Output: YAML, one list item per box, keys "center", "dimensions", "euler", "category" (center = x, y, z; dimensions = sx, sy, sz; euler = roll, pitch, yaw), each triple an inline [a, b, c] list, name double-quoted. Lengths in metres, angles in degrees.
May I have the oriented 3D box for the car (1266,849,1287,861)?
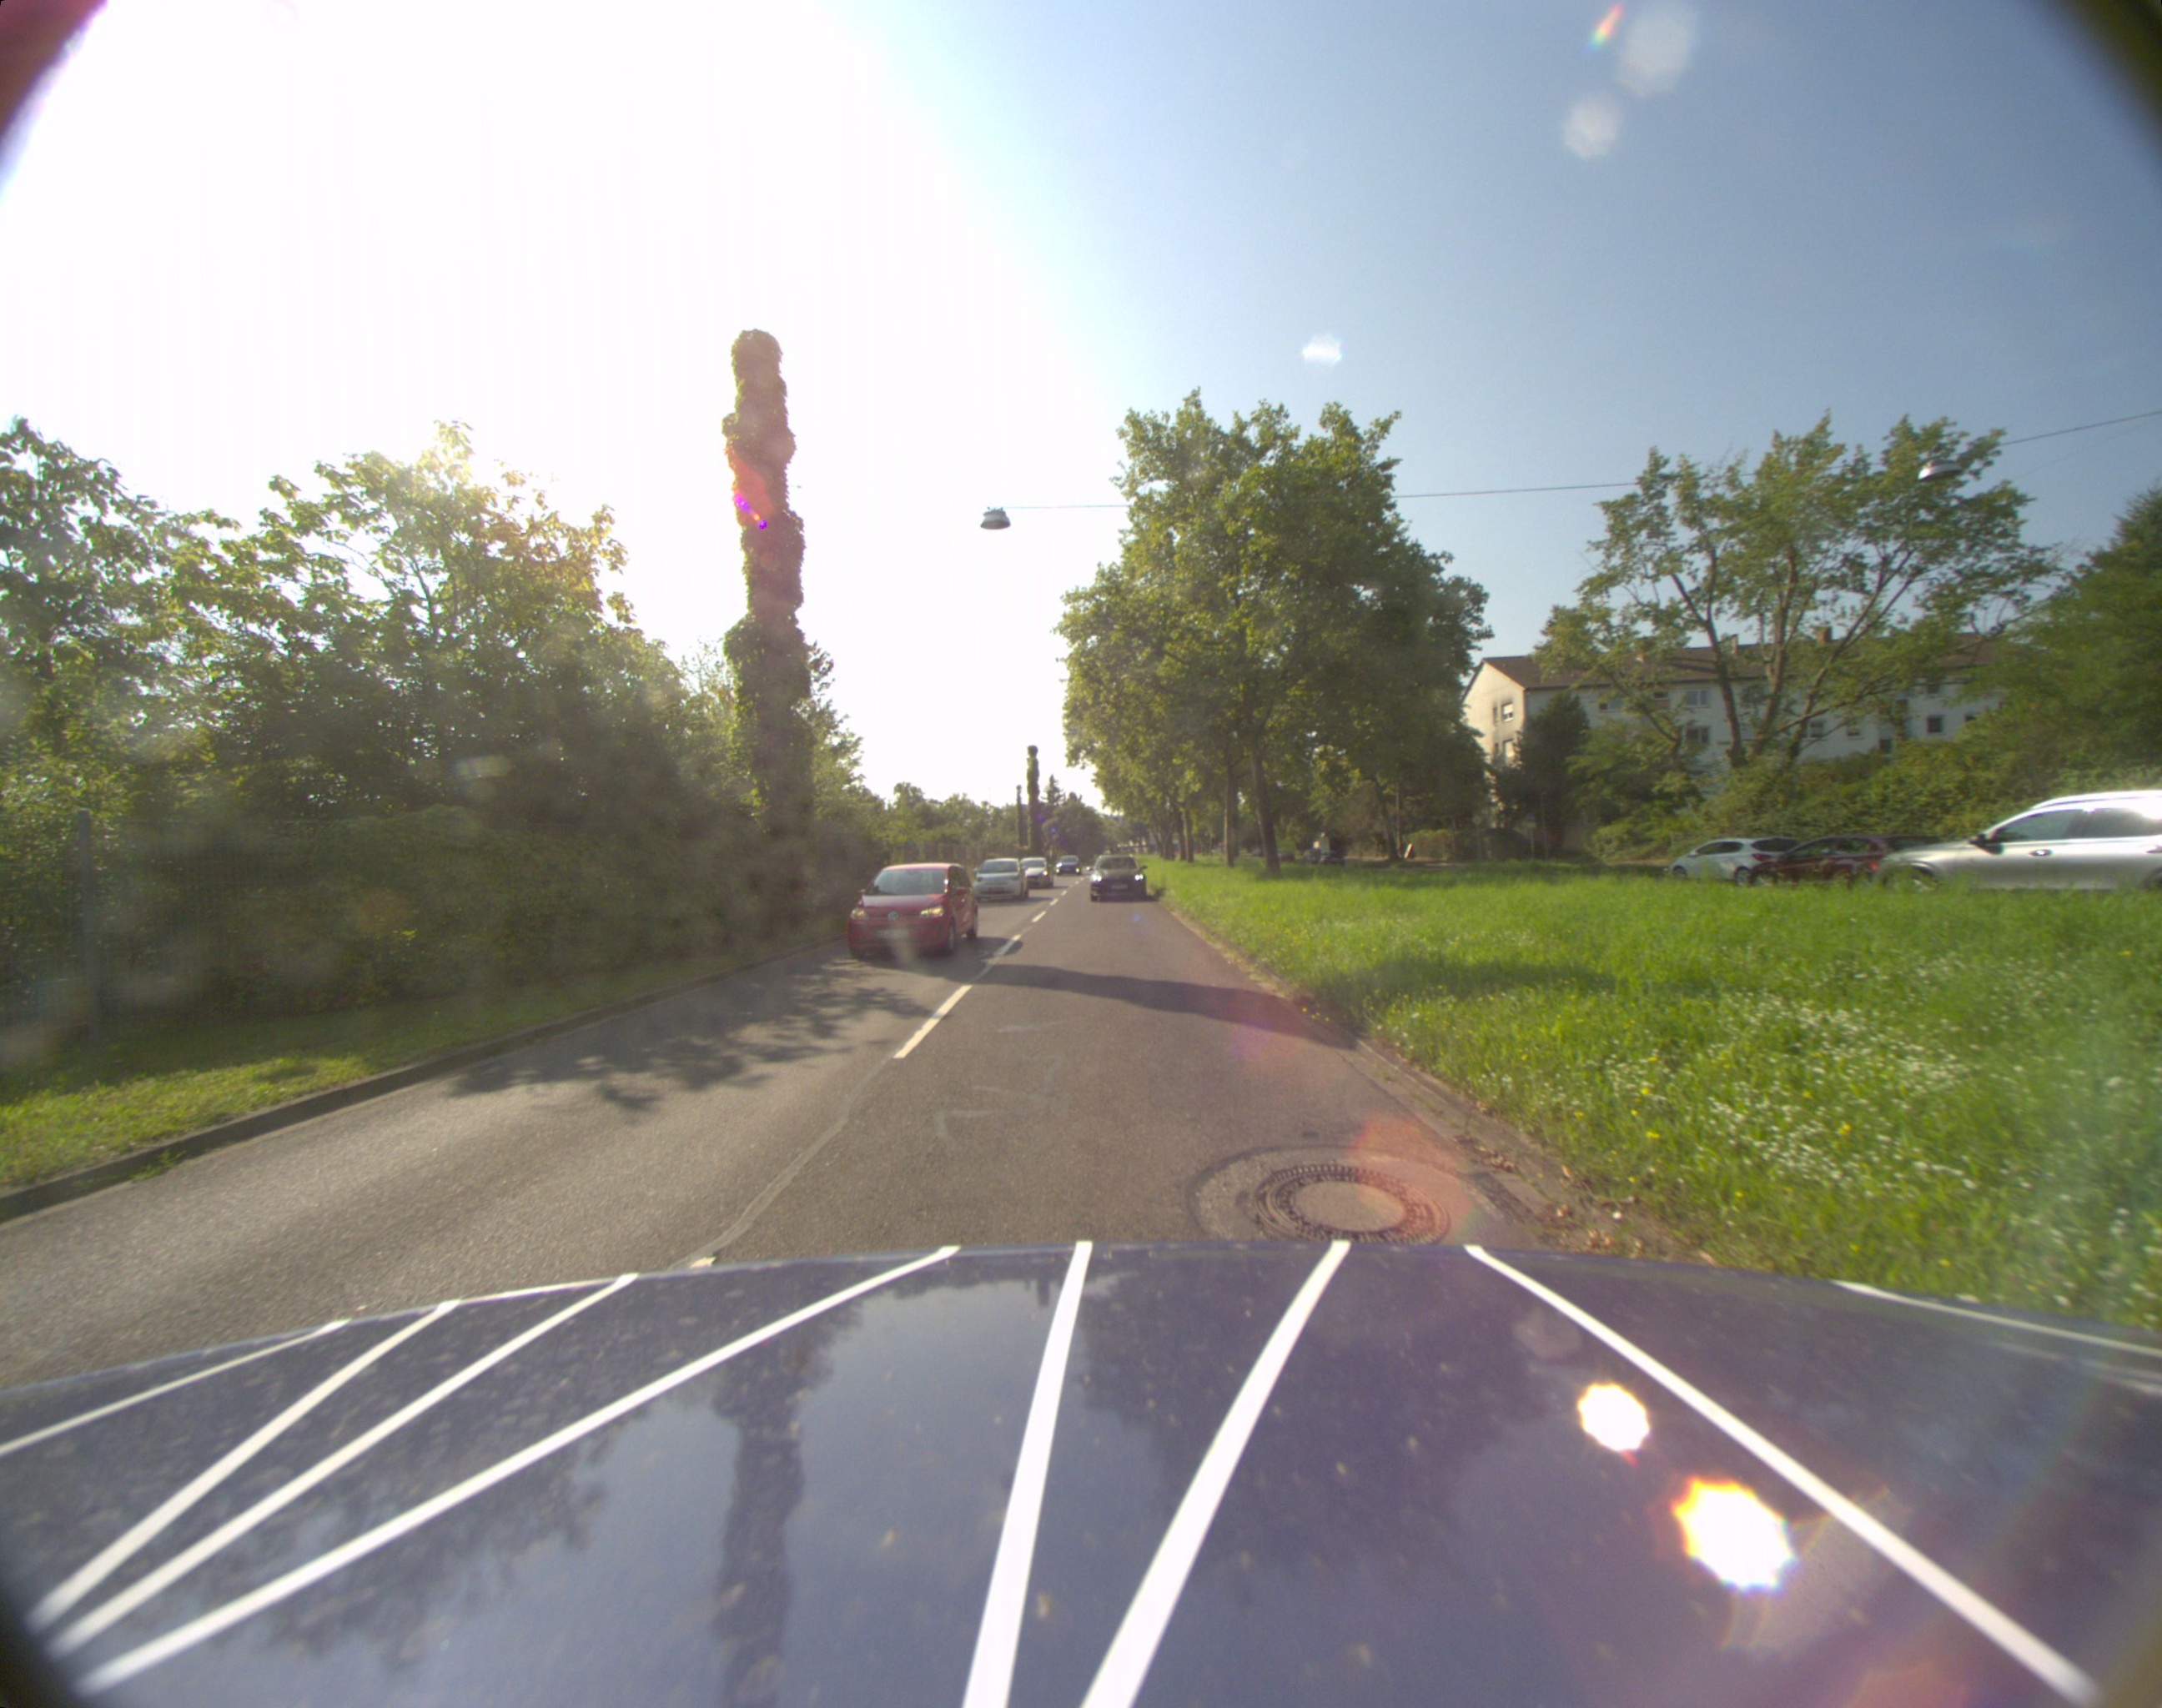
- center: [22.796, 0.095, 88.702]
  dimensions: [1.613, 1.398, 3.523]
  euler: [-2, 0, 4]
  category: "car"

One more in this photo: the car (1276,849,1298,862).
- center: [22.740, 0.185, 83.869]
  dimensions: [1.613, 1.284, 3.523]
  euler: [-3, 1, 4]
  category: "car"

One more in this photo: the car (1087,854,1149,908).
- center: [1.204, 0.838, 25.625]
  dimensions: [1.862, 1.572, 3.612]
  euler: [-3, 1, 1]
  category: "car"

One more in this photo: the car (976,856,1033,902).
- center: [-2.768, 0.862, 28.231]
  dimensions: [1.649, 1.467, 3.898]
  euler: [-3, 1, 0]
  category: "car"

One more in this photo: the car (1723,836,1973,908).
- center: [17.020, 0.372, 17.179]
  dimensions: [1.649, 1.356, 3.899]
  euler: [-3, 0, 0]
  category: "car"

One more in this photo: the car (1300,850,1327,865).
- center: [22.102, 0.315, 72.271]
  dimensions: [1.613, 1.284, 3.523]
  euler: [-3, 1, 4]
  category: "car"

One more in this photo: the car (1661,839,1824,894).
- center: [20.148, 0.343, 23.386]
  dimensions: [1.649, 1.471, 3.899]
  euler: [-3, 1, 1]
  category: "car"

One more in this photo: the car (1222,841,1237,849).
- center: [41.381, -2.637, 211.976]
  dimensions: [4.021, 2.081, 1.833]
  euler: [-2, 0, 6]
  category: "car"

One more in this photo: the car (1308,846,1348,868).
- center: [18.134, 0.170, 55.956]
  dimensions: [1.649, 1.471, 3.899]
  euler: [-3, 1, 1]
  category: "car"

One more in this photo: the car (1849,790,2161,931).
- center: [13.269, 0.026, 9.832]
  dimensions: [1.779, 1.607, 4.856]
  euler: [-3, 1, 1]
  category: "car"

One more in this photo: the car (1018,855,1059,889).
- center: [-2.033, 0.836, 37.321]
  dimensions: [1.649, 1.467, 3.899]
  euler: [-3, 1, 1]
  category: "car"

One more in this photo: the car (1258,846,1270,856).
- center: [34.282, -0.542, 142.463]
  dimensions: [1.648, 1.662, 3.735]
  euler: [-2, 0, 7]
  category: "car"

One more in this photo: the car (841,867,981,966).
- center: [-2.818, 0.986, 13.291]
  dimensions: [1.579, 1.390, 3.471]
  euler: [-1, 1, 1]
  category: "car"

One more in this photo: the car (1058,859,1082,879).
- center: [-0.815, 1.156, 59.142]
  dimensions: [1.649, 1.378, 3.899]
  euler: [-3, 1, 1]
  category: "car"
